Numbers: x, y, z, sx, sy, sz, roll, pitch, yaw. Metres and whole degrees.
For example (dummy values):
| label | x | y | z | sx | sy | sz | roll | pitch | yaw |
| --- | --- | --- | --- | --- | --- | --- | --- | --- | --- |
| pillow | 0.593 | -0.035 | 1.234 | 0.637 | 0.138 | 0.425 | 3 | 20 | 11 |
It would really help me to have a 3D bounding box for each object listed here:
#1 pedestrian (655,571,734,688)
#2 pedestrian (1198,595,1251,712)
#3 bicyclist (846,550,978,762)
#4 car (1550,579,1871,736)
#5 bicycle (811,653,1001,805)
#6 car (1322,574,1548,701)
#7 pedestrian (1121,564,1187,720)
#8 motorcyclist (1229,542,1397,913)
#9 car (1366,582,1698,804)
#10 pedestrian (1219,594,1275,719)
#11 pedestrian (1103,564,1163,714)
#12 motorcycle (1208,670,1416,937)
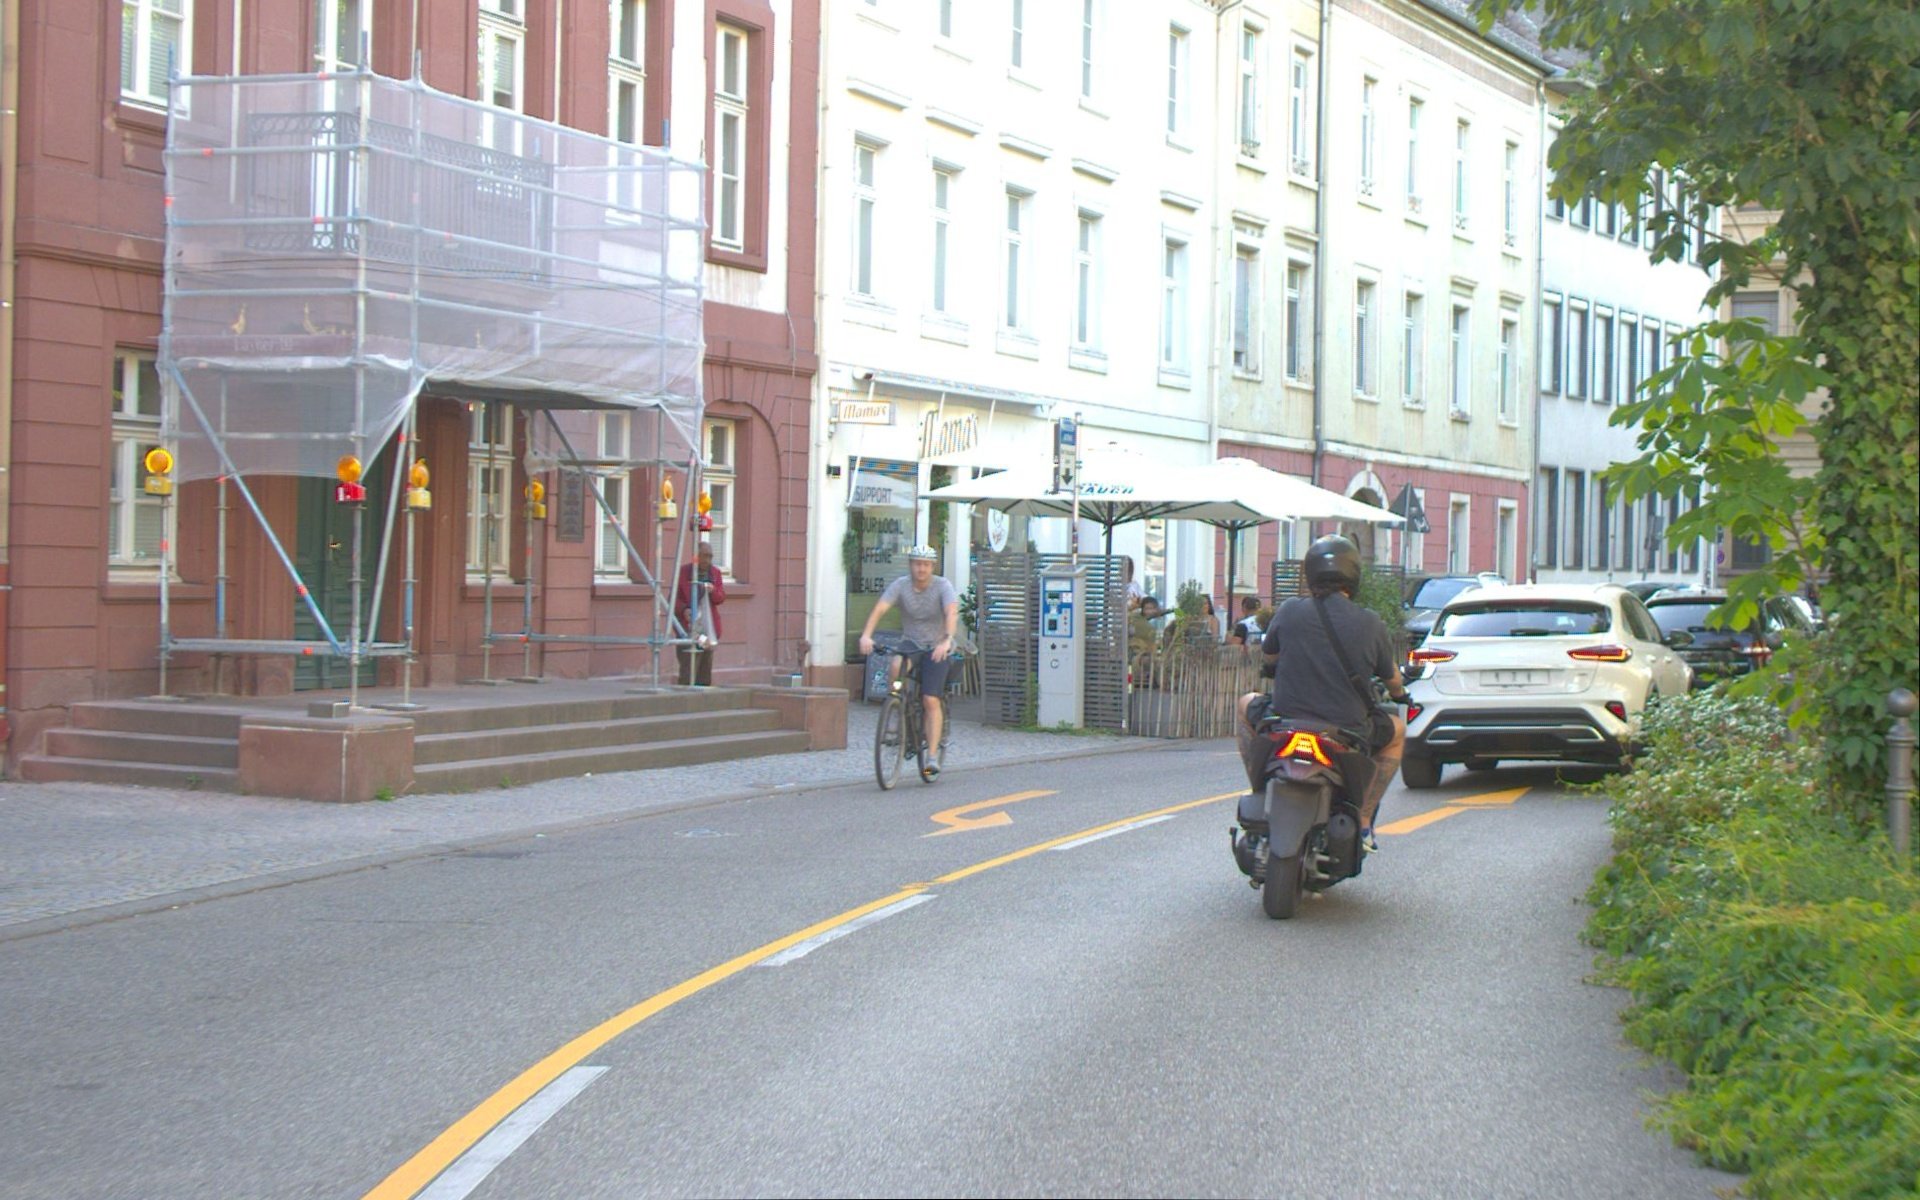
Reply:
| label | x | y | z | sx | sy | sz | roll | pitch | yaw |
| --- | --- | --- | --- | --- | --- | --- | --- | --- | --- |
| pedestrian | -2.455 | 0.268 | 31.789 | 0.537 | 1.049 | 0.551 | 2 | 1 | 17 |
| pedestrian | 3.181 | 0.636 | 41.337 | 0.523 | 1.386 | 0.488 | 1 | 0 | 18 |
| bicyclist | -0.366 | 0.421 | 26.510 | 0.745 | 1.578 | 0.794 | 2 | 1 | 20 |
| car | 7.798 | 0.559 | 35.474 | 1.844 | 1.458 | 4.049 | 2 | 1 | 34 |
| bicycle | -0.395 | 0.972 | 26.492 | 0.772 | 1.059 | 2.076 | 1 | 1 | 20 |
| car | 6.696 | 0.480 | 48.048 | 1.924 | 1.674 | 4.779 | 0 | 0 | 23 |
| pedestrian | 2.229 | 0.479 | 39.438 | 0.596 | 1.769 | 0.438 | 1 | 0 | 30 |
| motorcyclist | 1.628 | 0.568 | 15.812 | 0.657 | 1.645 | 0.650 | 2 | 1 | 11 |
| car | 4.405 | 0.631 | 26.006 | 1.852 | 1.475 | 4.054 | 2 | 1 | 18 |
| pedestrian | 3.328 | 0.647 | 39.892 | 0.471 | 1.428 | 0.501 | 1 | 1 | 26 |
| pedestrian | 2.063 | 0.456 | 40.944 | 0.438 | 1.769 | 0.596 | 1 | 1 | 34 |
| motorcycle | 1.625 | 0.890 | 15.646 | 0.797 | 1.062 | 1.724 | 2 | 1 | 10 |
